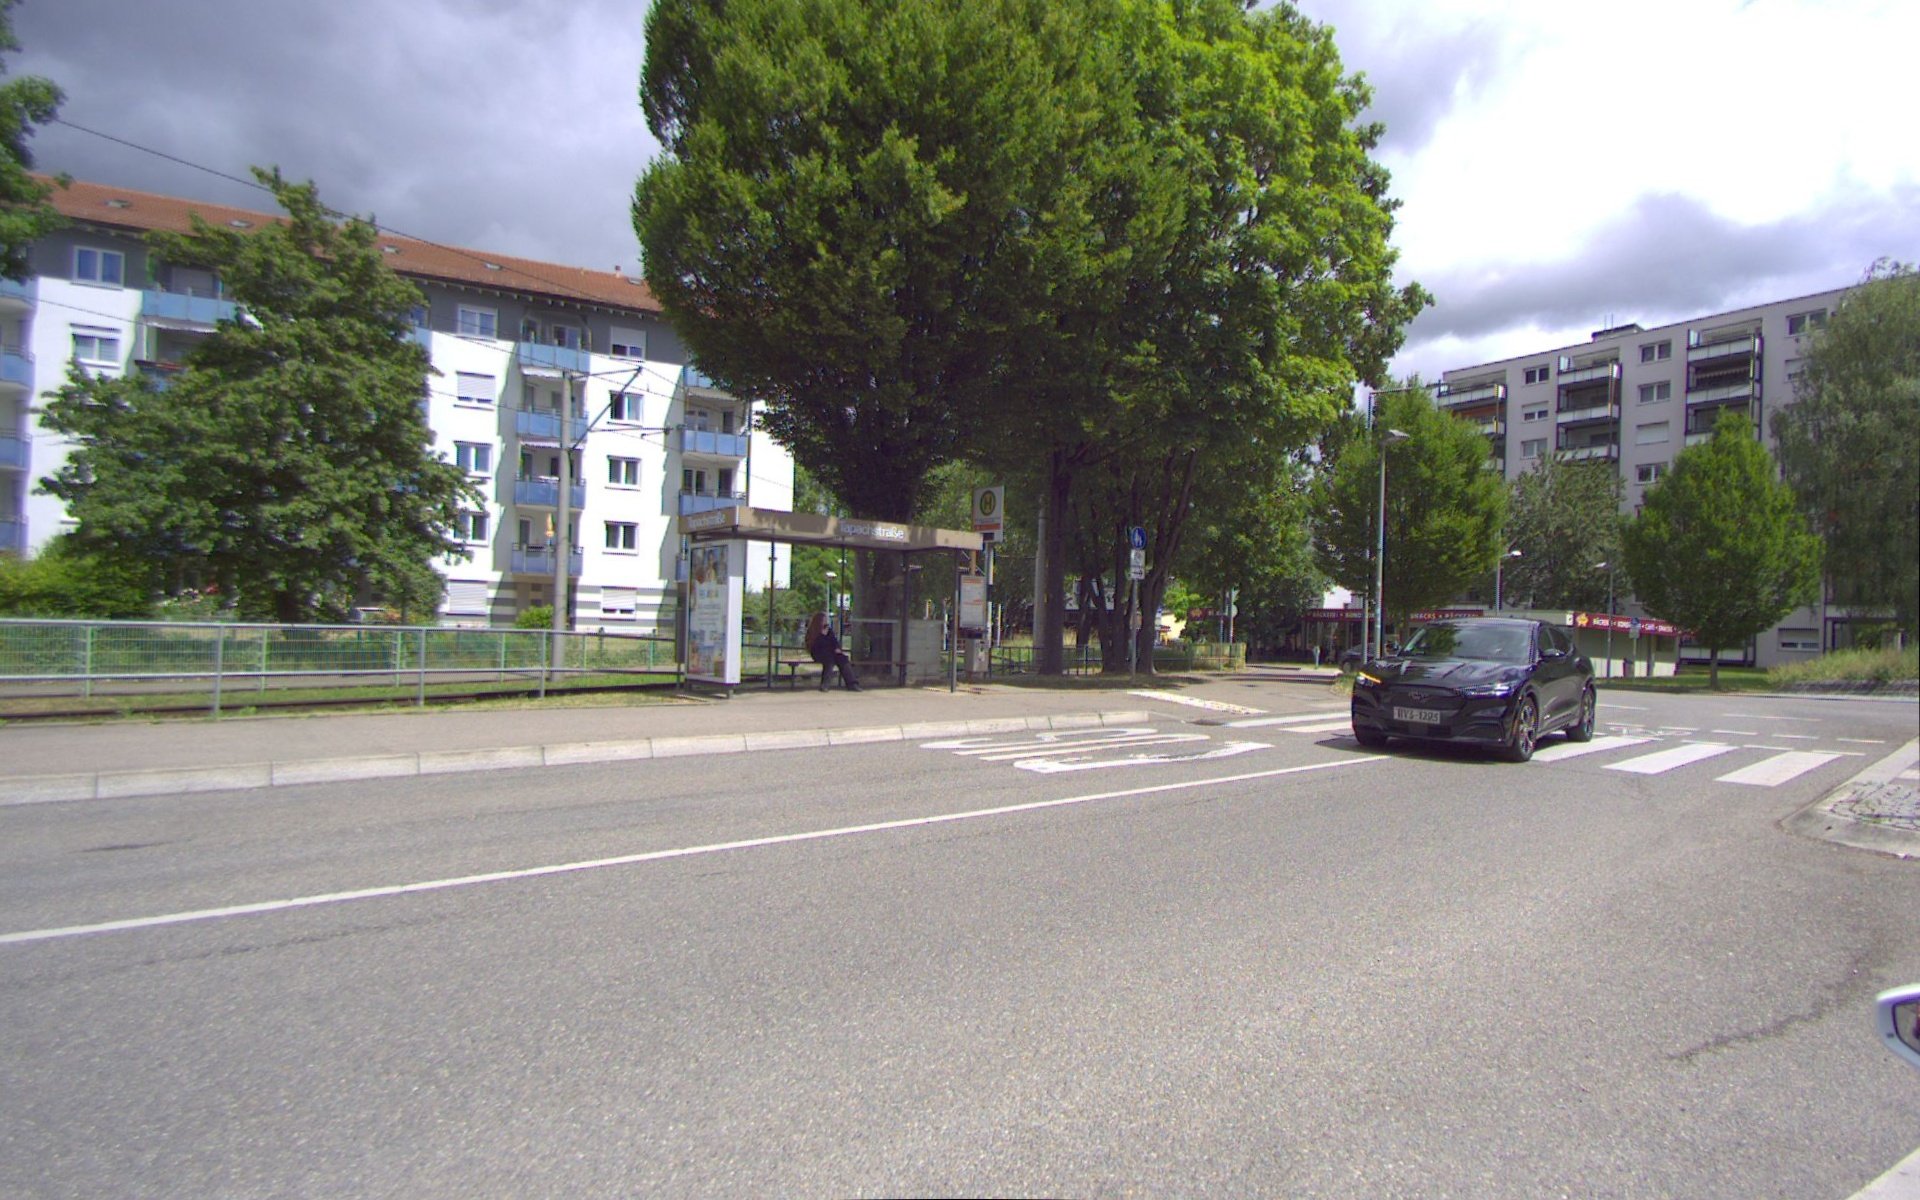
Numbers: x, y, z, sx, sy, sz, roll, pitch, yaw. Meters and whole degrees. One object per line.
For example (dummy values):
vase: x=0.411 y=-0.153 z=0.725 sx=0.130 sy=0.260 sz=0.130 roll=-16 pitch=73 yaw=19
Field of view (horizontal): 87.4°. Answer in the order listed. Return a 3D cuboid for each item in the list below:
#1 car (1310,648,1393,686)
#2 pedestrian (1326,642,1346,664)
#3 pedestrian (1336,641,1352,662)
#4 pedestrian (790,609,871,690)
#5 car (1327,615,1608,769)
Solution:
car: x=16.302 y=2.757 z=42.042 sx=1.787 sy=1.402 sz=4.620 roll=1 pitch=-2 yaw=2
pedestrian: x=24.351 y=3.420 z=64.992 sx=0.871 sy=1.342 sz=0.815 roll=2 pitch=1 yaw=-32
pedestrian: x=25.042 y=3.352 z=65.494 sx=0.710 sy=1.399 sz=0.694 roll=2 pitch=-2 yaw=-25
pedestrian: x=-1.949 y=0.737 z=15.103 sx=0.903 sy=1.150 sz=0.792 roll=2 pitch=0 yaw=-38
car: x=6.539 y=0.979 z=12.682 sx=1.972 sy=1.546 sz=4.497 roll=1 pitch=0 yaw=44
